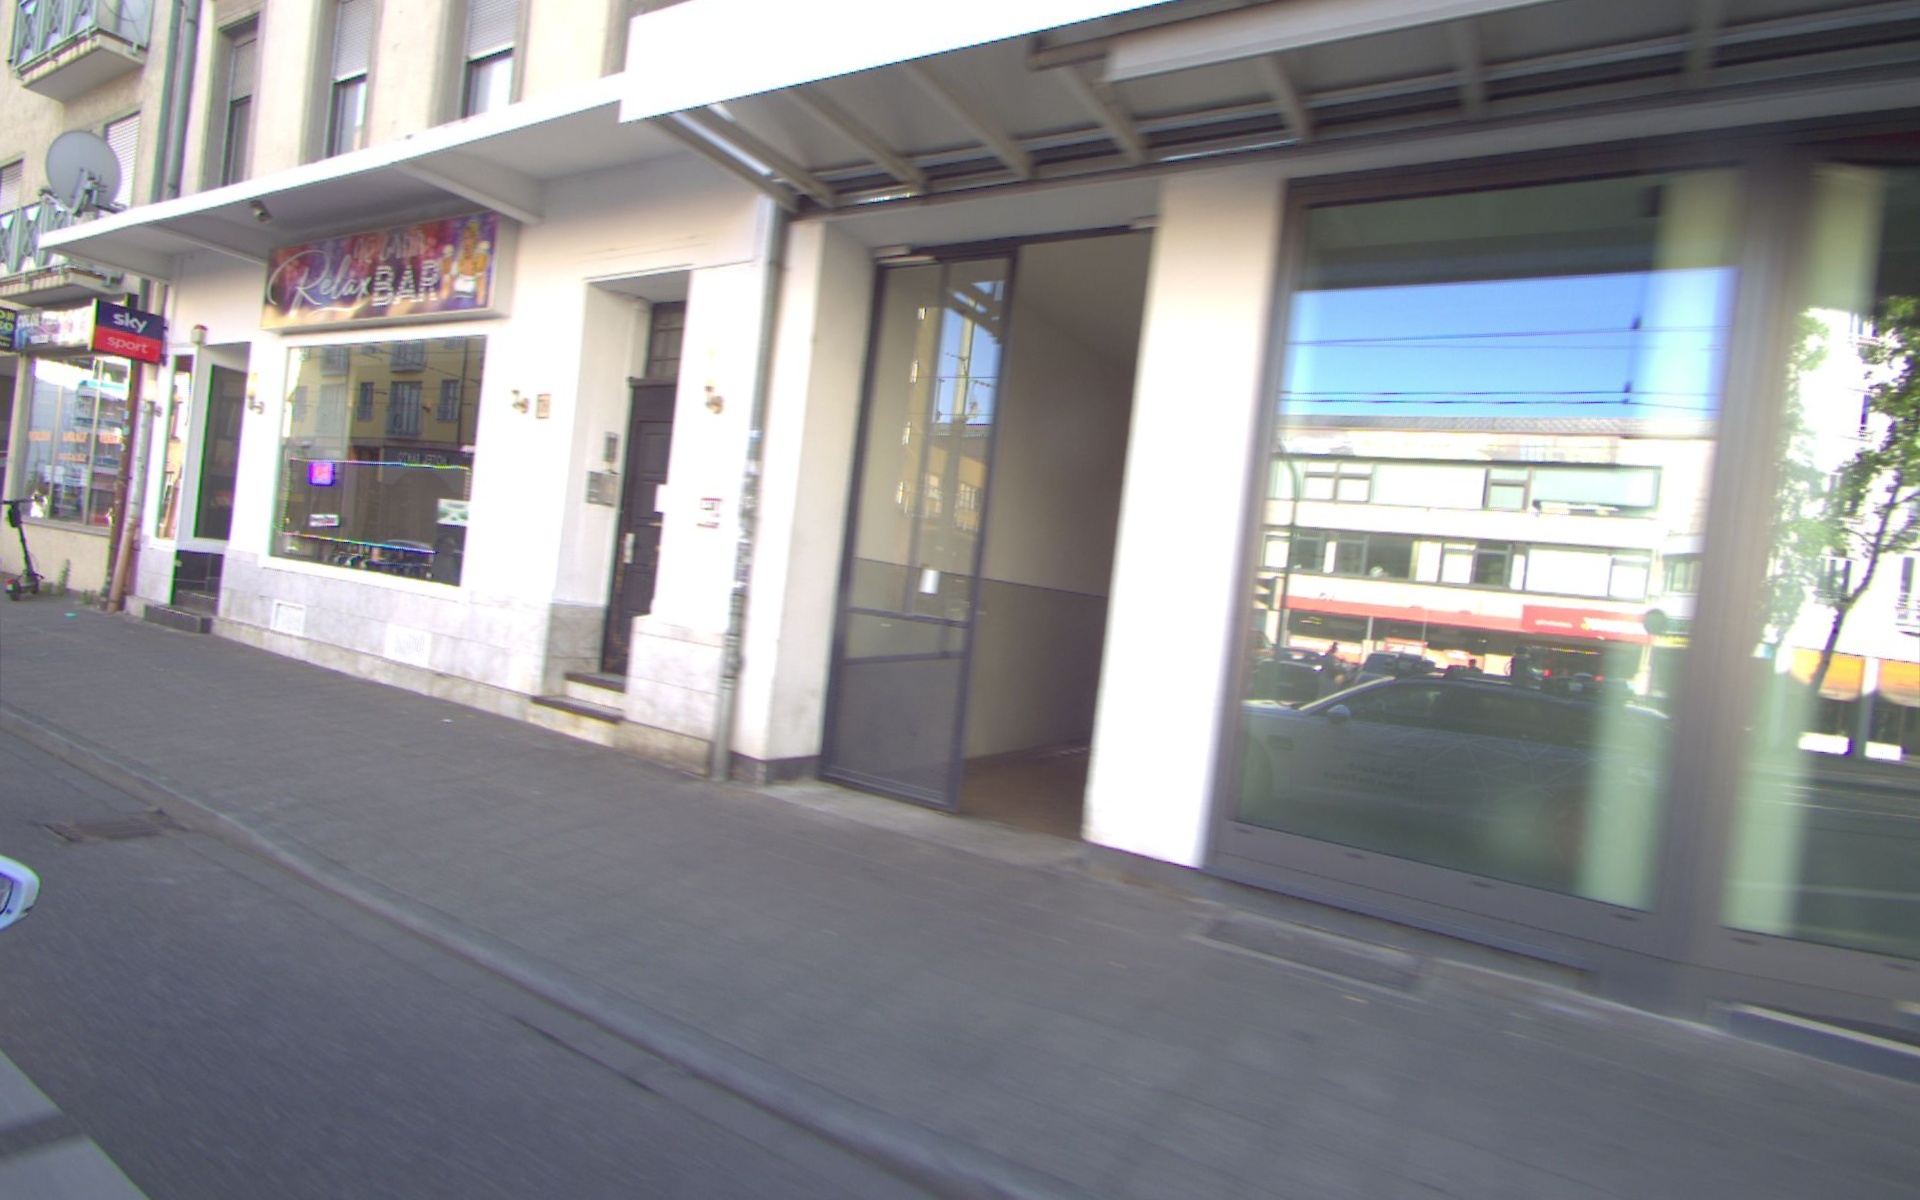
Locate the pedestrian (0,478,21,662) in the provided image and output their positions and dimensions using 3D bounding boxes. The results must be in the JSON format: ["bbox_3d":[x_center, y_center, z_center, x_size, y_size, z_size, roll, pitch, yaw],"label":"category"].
[{"bbox_3d":[-8.685,-0.310,8.605,0.768,1.579,0.649,7,0,30],"label":"pedestrian"}]

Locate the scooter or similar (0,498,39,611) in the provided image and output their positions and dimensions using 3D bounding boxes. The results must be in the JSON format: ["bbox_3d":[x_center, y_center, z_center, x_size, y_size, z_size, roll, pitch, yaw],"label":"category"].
[{"bbox_3d":[-11.682,-0.583,12.361,0.408,1.297,1.268,7,0,-42],"label":"scooter or similar"}]
